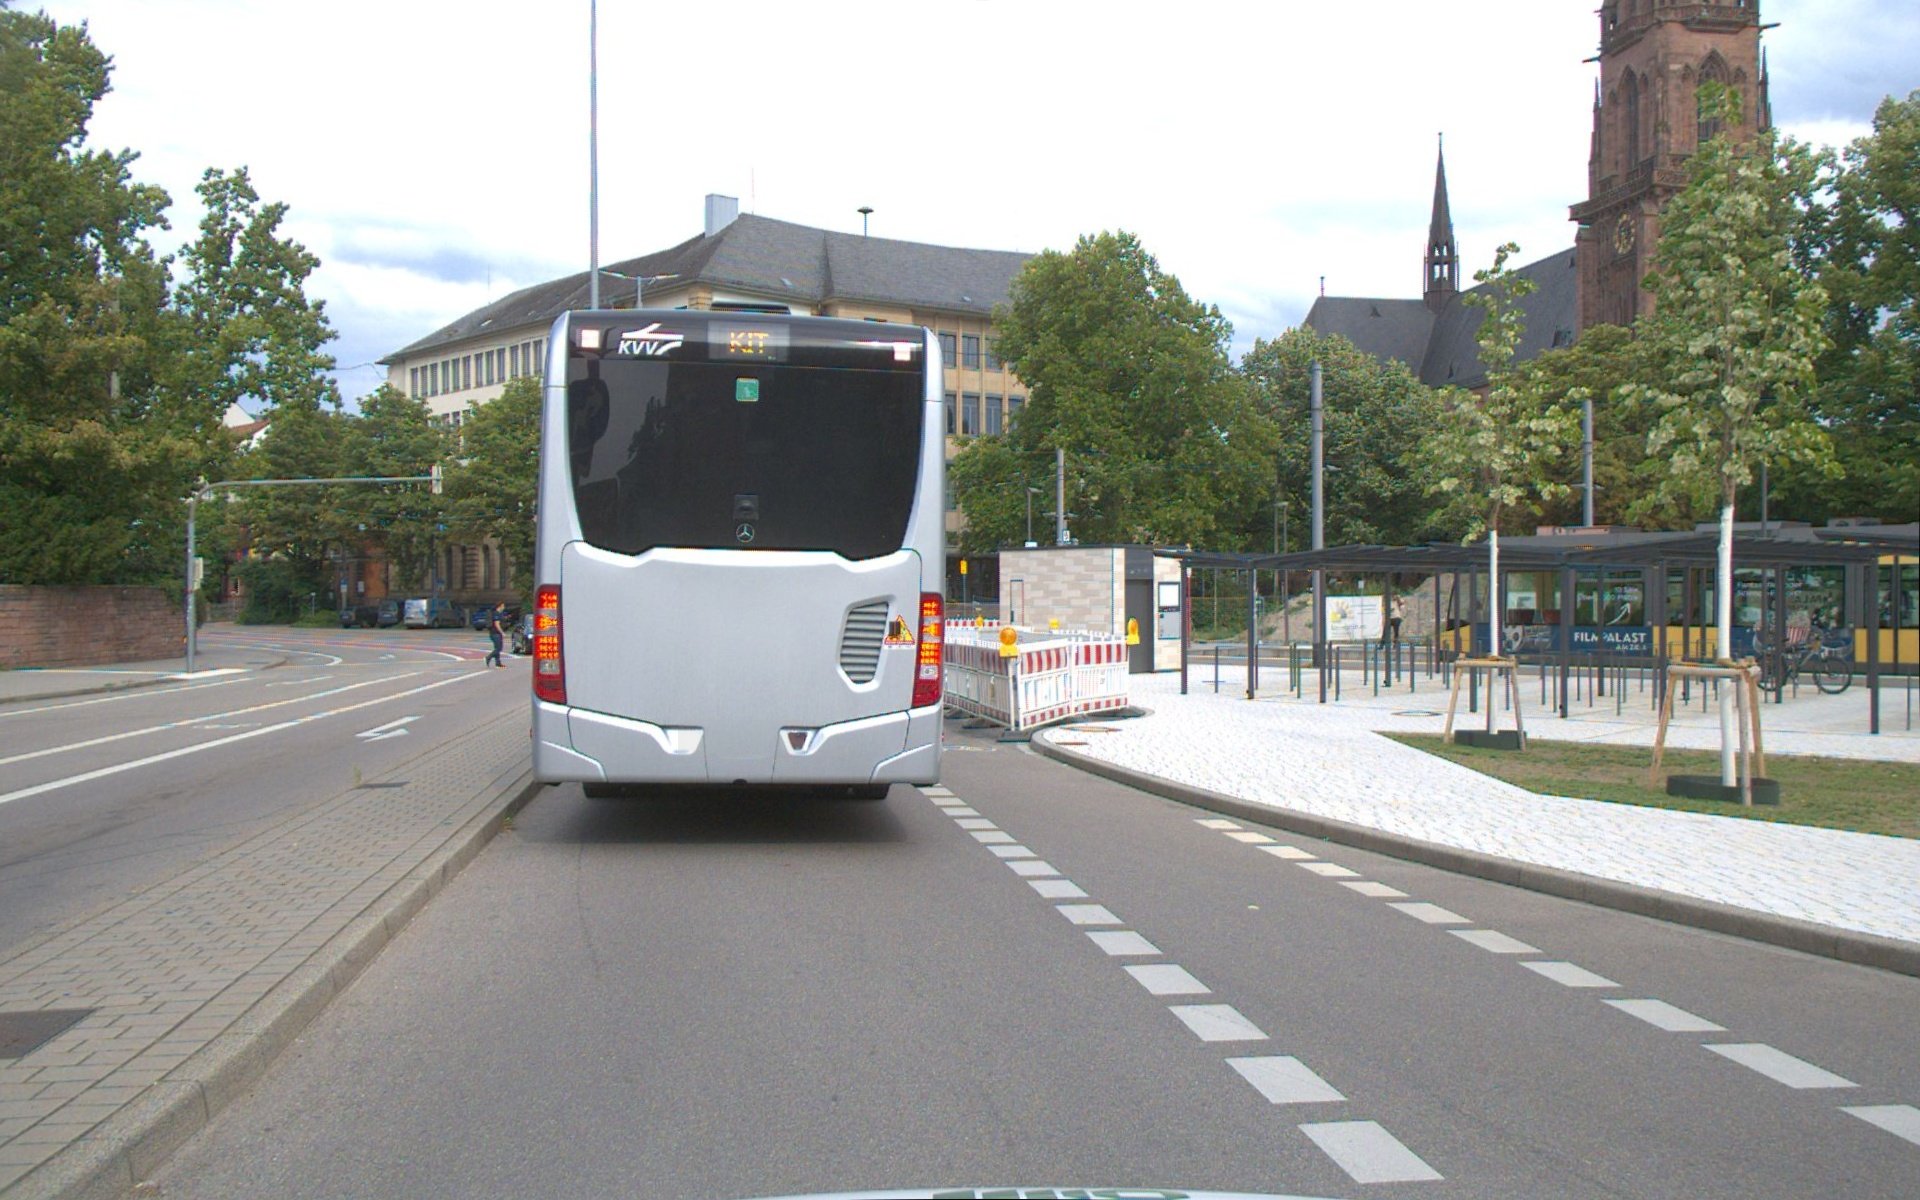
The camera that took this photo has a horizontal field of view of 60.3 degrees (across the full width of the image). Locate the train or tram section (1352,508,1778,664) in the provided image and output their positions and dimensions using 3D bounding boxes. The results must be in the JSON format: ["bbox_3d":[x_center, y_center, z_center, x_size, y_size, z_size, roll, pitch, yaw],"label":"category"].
[{"bbox_3d":[14.199,-0.486,39.620,3.038,3.334,9.222,-2,3,-43],"label":"train or tram section"}]

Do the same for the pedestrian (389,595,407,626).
[{"bbox_3d":[-37.497,0.677,110.397,0.879,2.049,0.997,0,0,-34],"label":"pedestrian"}]

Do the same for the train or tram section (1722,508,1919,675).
[{"bbox_3d":[20.464,-0.172,32.779,3.038,3.268,9.281,-2,3,-43],"label":"train or tram section"}]

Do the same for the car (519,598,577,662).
[{"bbox_3d":[-14.805,1.027,59.302,1.961,2.048,3.985,0,2,-15],"label":"car"}]

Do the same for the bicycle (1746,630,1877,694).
[{"bbox_3d":[14.723,1.060,28.632,1.933,0.971,0.580,2,3,44],"label":"bicycle"}]

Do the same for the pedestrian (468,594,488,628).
[{"bbox_3d":[-29.419,0.659,100.958,0.879,2.049,0.997,0,0,-34],"label":"pedestrian"}]

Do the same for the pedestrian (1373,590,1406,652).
[{"bbox_3d":[13.117,0.633,50.498,0.804,1.832,0.752,0,2,3],"label":"pedestrian"}]

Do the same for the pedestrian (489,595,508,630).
[{"bbox_3d":[-27.480,0.721,98.474,0.879,2.049,0.997,0,0,-34],"label":"pedestrian"}]

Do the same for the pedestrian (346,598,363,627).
[{"bbox_3d":[-41.929,0.856,114.584,0.879,2.049,0.997,0,0,-34],"label":"pedestrian"}]

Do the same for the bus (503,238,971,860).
[{"bbox_3d":[-2.347,-0.198,16.508,2.655,3.498,14.152,0,-1,-9],"label":"bus"}]

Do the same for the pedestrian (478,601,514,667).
[{"bbox_3d":[-12.722,0.925,45.383,0.781,1.740,0.839,0,2,-4],"label":"pedestrian"}]
